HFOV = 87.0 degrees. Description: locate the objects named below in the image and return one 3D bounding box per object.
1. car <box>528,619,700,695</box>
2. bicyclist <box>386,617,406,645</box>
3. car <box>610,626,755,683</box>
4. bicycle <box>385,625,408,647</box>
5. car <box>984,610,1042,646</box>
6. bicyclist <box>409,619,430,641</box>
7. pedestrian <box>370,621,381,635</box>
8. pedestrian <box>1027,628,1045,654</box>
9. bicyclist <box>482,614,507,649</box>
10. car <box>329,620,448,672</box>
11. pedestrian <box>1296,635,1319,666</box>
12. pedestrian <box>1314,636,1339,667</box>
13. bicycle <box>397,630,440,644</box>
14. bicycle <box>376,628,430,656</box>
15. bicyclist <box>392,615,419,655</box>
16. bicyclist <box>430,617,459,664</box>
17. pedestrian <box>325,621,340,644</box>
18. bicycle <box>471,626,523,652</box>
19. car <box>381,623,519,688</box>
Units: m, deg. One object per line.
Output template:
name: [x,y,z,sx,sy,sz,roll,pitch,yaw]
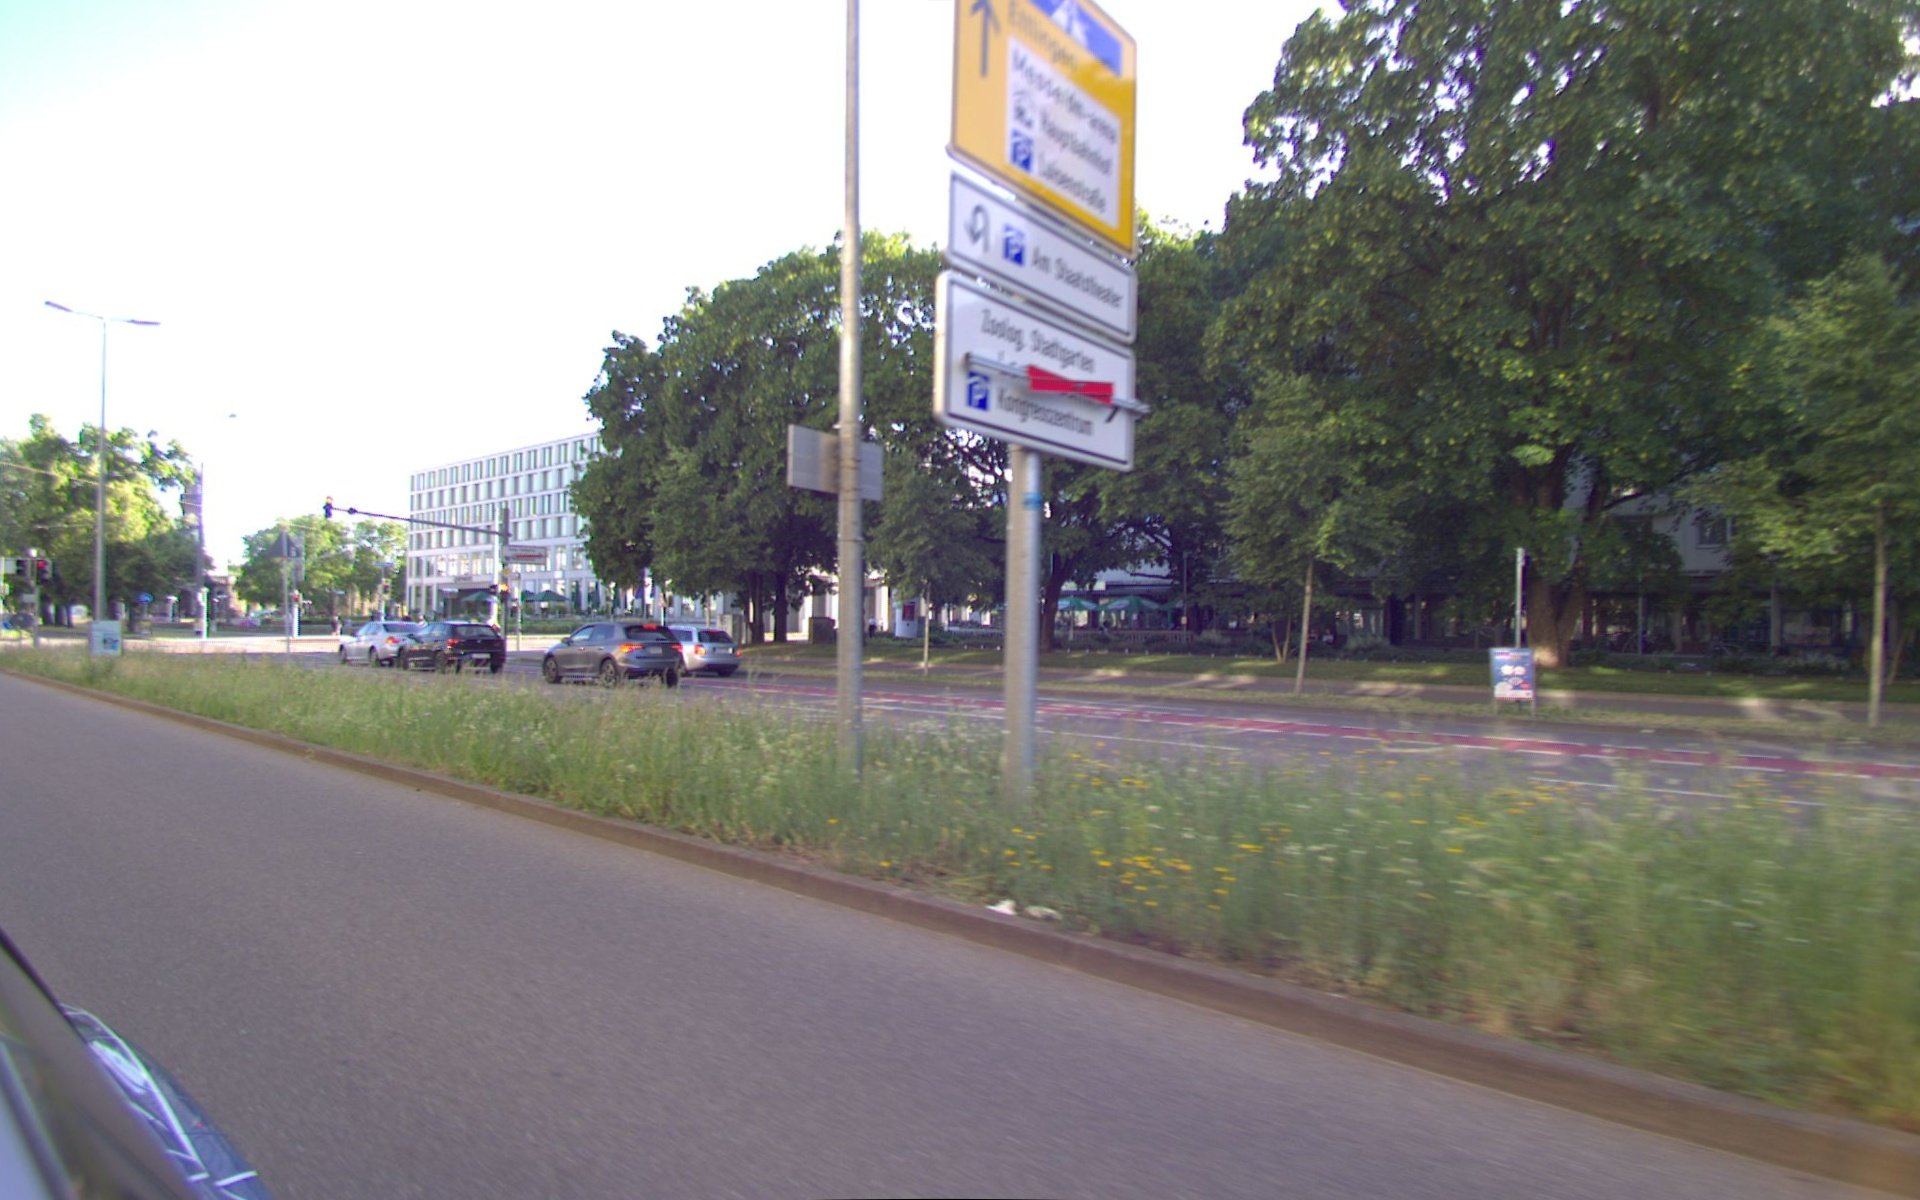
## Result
car: [-8.008,1.249,23.281,4.058,1.576,1.973,-1,-2,41]
bicyclist: [-32.931,1.796,59.131,0.837,1.631,0.976,1,-2,-20]
car: [-8.223,1.575,29.788,4.586,1.538,1.912,-1,-4,42]
bicycle: [-32.944,2.088,59.162,0.832,1.240,2.021,1,-2,-20]
car: [4.530,2.357,85.959,2.597,2.975,5.023,-1,-2,38]
bicyclist: [-34.711,1.924,65.011,0.826,1.372,0.959,-1,-2,41]
pedestrian: [-61.415,2.936,106.320,0.762,1.537,0.774,-1,-2,41]
pedestrian: [4.051,2.184,53.875,0.599,1.350,0.723,-1,-2,44]
bicyclist: [-23.378,1.583,50.818,0.775,1.703,0.913,1,0,41]
car: [-18.579,1.450,32.826,4.547,1.572,1.973,-1,-2,41]
pedestrian: [15.308,2.200,44.577,0.665,1.350,0.895,-1,-2,44]
pedestrian: [15.937,2.232,44.000,0.716,1.350,0.817,-1,-2,44]
bicycle: [-34.741,2.368,64.934,0.843,0.858,2.304,-1,-2,40]
bicycle: [-25.496,1.927,46.384,0.778,1.249,1.993,1,-1,40]
bicyclist: [-25.435,1.609,46.449,0.754,1.756,0.827,1,-1,41]
bicyclist: [-18.790,1.479,36.892,0.771,1.692,0.841,3,-3,-35]
pedestrian: [-42.540,2.195,68.619,0.602,1.537,0.616,-1,-2,36]
bicycle: [-23.284,1.941,50.915,0.778,1.249,2.281,-1,-2,40]
car: [-14.611,1.520,28.892,4.547,1.688,1.973,-1,-2,41]
